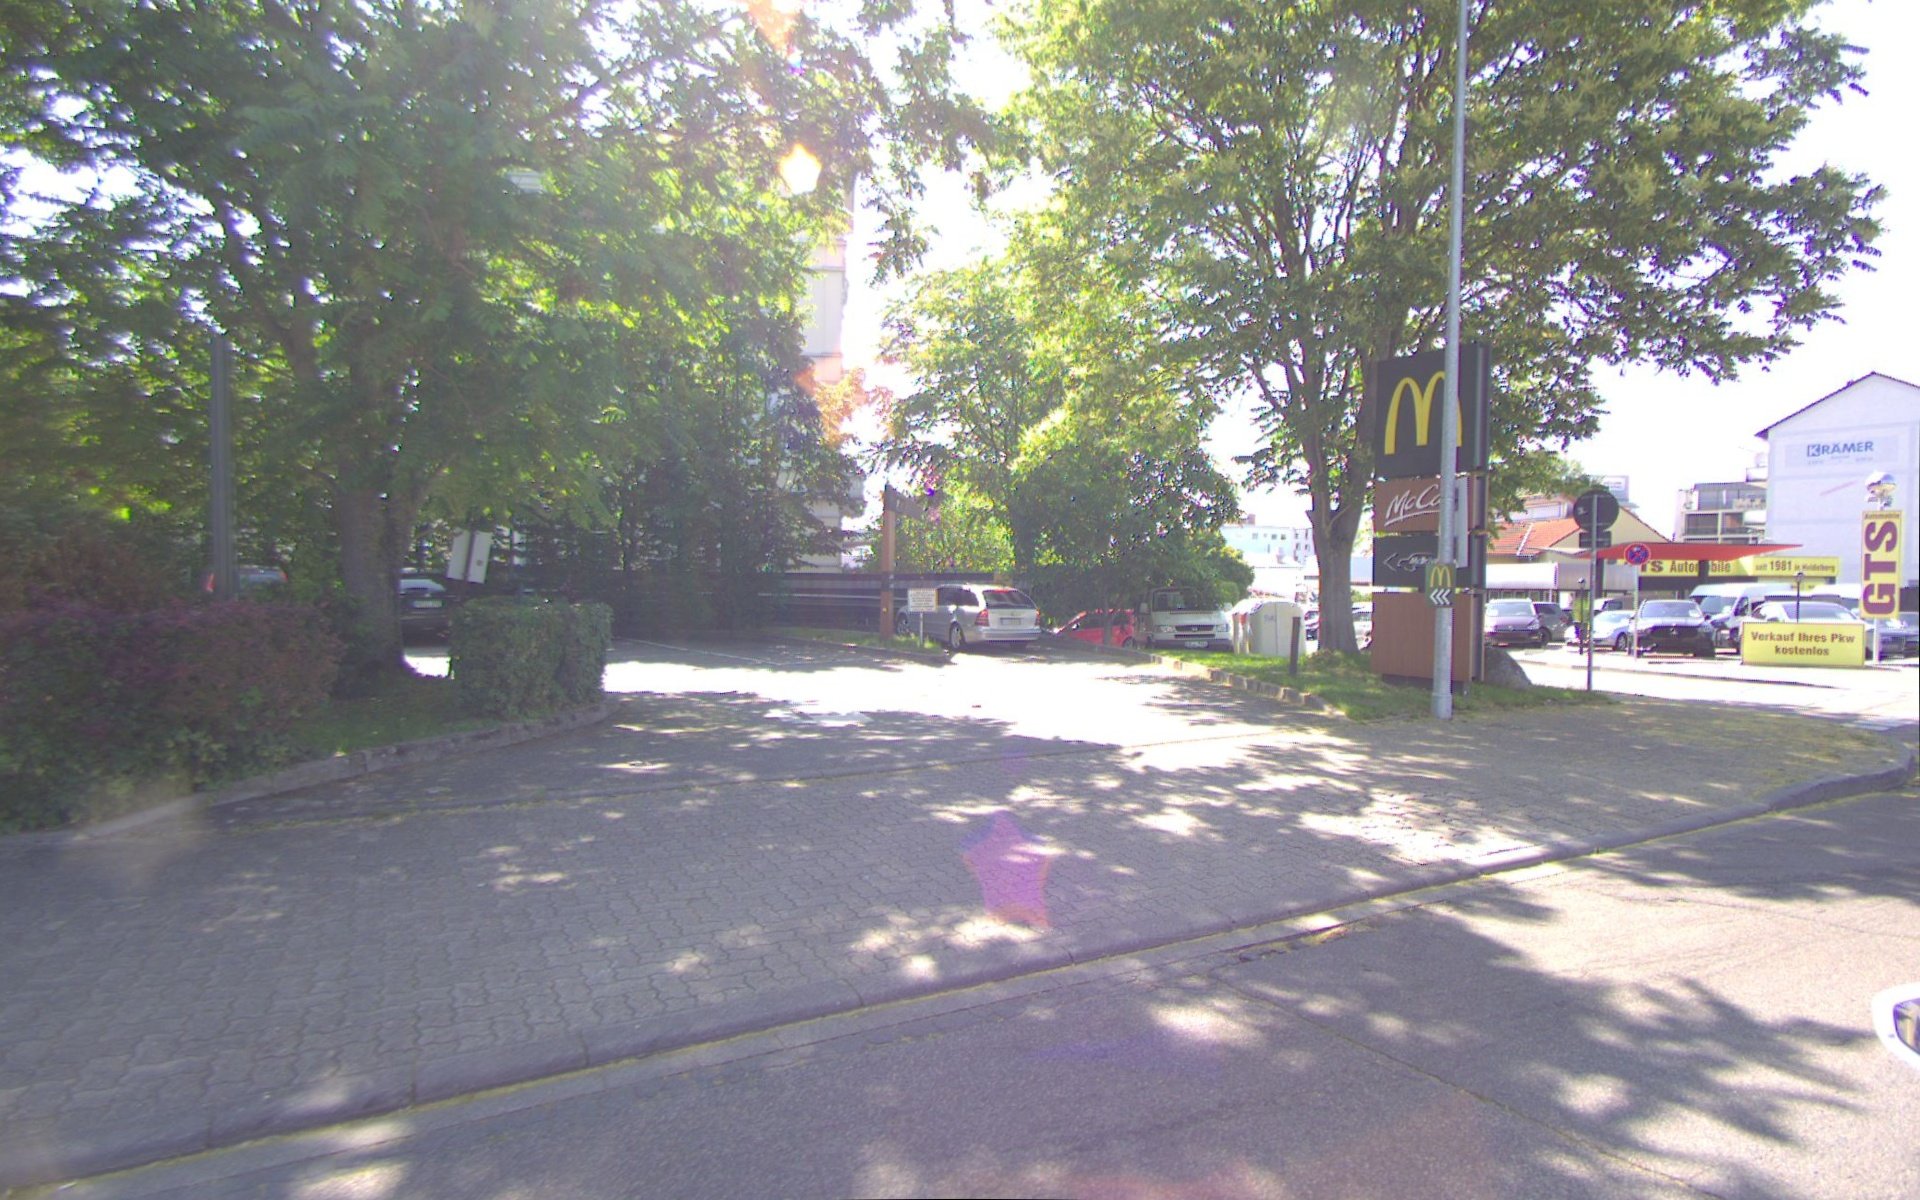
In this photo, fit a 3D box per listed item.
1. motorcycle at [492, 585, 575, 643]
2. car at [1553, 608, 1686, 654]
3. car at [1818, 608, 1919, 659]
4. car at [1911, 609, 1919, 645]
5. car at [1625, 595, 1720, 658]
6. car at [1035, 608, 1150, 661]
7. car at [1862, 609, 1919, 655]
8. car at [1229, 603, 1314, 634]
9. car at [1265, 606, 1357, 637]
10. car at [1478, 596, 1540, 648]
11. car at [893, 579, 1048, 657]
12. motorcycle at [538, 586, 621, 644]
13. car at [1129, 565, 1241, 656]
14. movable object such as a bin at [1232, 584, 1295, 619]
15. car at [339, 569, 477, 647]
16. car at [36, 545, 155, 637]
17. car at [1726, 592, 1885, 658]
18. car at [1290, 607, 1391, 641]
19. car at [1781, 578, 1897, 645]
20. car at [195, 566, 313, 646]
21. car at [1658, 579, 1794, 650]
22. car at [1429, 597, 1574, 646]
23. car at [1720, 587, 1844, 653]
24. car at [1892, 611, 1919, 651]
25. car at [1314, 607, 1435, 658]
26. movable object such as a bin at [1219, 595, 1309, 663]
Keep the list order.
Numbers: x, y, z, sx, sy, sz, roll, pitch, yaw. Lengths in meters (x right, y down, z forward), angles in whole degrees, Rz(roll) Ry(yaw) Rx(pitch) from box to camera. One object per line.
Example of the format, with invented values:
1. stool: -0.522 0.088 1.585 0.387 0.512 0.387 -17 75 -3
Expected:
1. motorcycle: -9.219 0.283 21.688 2.146 1.131 0.568 3 2 34
2. car: 24.530 1.132 37.363 4.620 1.596 1.904 0 1 -23
3. car: 28.317 1.026 31.226 1.810 1.492 3.992 -2 -2 31
4. car: 40.223 1.089 40.363 1.640 1.492 3.998 -1 -1 24
5. car: 21.044 0.787 29.836 2.013 1.730 4.305 0 -2 32
6. car: 4.190 1.079 32.118 3.341 1.485 1.693 -2 0 -3
7. car: 32.717 1.071 34.501 1.810 1.492 3.991 -2 -1 31
8. car: 17.110 1.008 55.198 4.050 1.624 1.867 1 0 -9
9. car: 17.563 1.079 50.302 3.985 1.509 1.795 1 0 -9
10. car: 19.000 0.739 34.768 1.778 1.678 4.308 0 -1 29
11. car: 0.105 0.311 22.409 1.691 1.423 4.356 -1 3 -26
12. motorcycle: -8.346 0.302 21.987 2.146 1.147 0.568 3 2 34
13. car: 5.314 0.325 24.272 1.855 1.945 4.527 -2 -2 3
14. movable object such as a bin: 26.031 0.141 86.281 4.740 2.945 1.999 1 0 -4
15. car: -11.547 0.110 20.892 1.756 1.406 4.046 0 2 -40
16. car: -18.382 -0.244 21.437 1.787 1.755 3.976 0 2 -40
17. car: 24.064 0.770 28.823 1.943 1.729 4.665 0 -3 20
18. car: 17.867 1.104 47.205 4.058 1.509 1.867 1 0 -9
19. car: 36.383 0.499 41.532 5.662 2.463 2.230 2 3 -35
20. car: -14.309 0.064 20.274 1.614 1.414 4.023 0 2 -40
21. car: 31.901 0.622 41.786 6.078 2.794 2.267 1 0 -29
22. car: 21.741 0.836 40.592 4.794 1.867 2.163 1 0 17
23. car: 31.151 0.779 38.042 4.770 2.381 2.234 2 -1 -32
24. car: 36.932 1.145 37.782 1.753 1.492 3.994 -2 -2 28
25. car: 13.689 1.030 33.490 1.651 1.513 4.600 1 0 -7
26. movable object such as a bin: 7.434 0.703 24.673 1.429 1.546 1.773 -2 -1 -10
